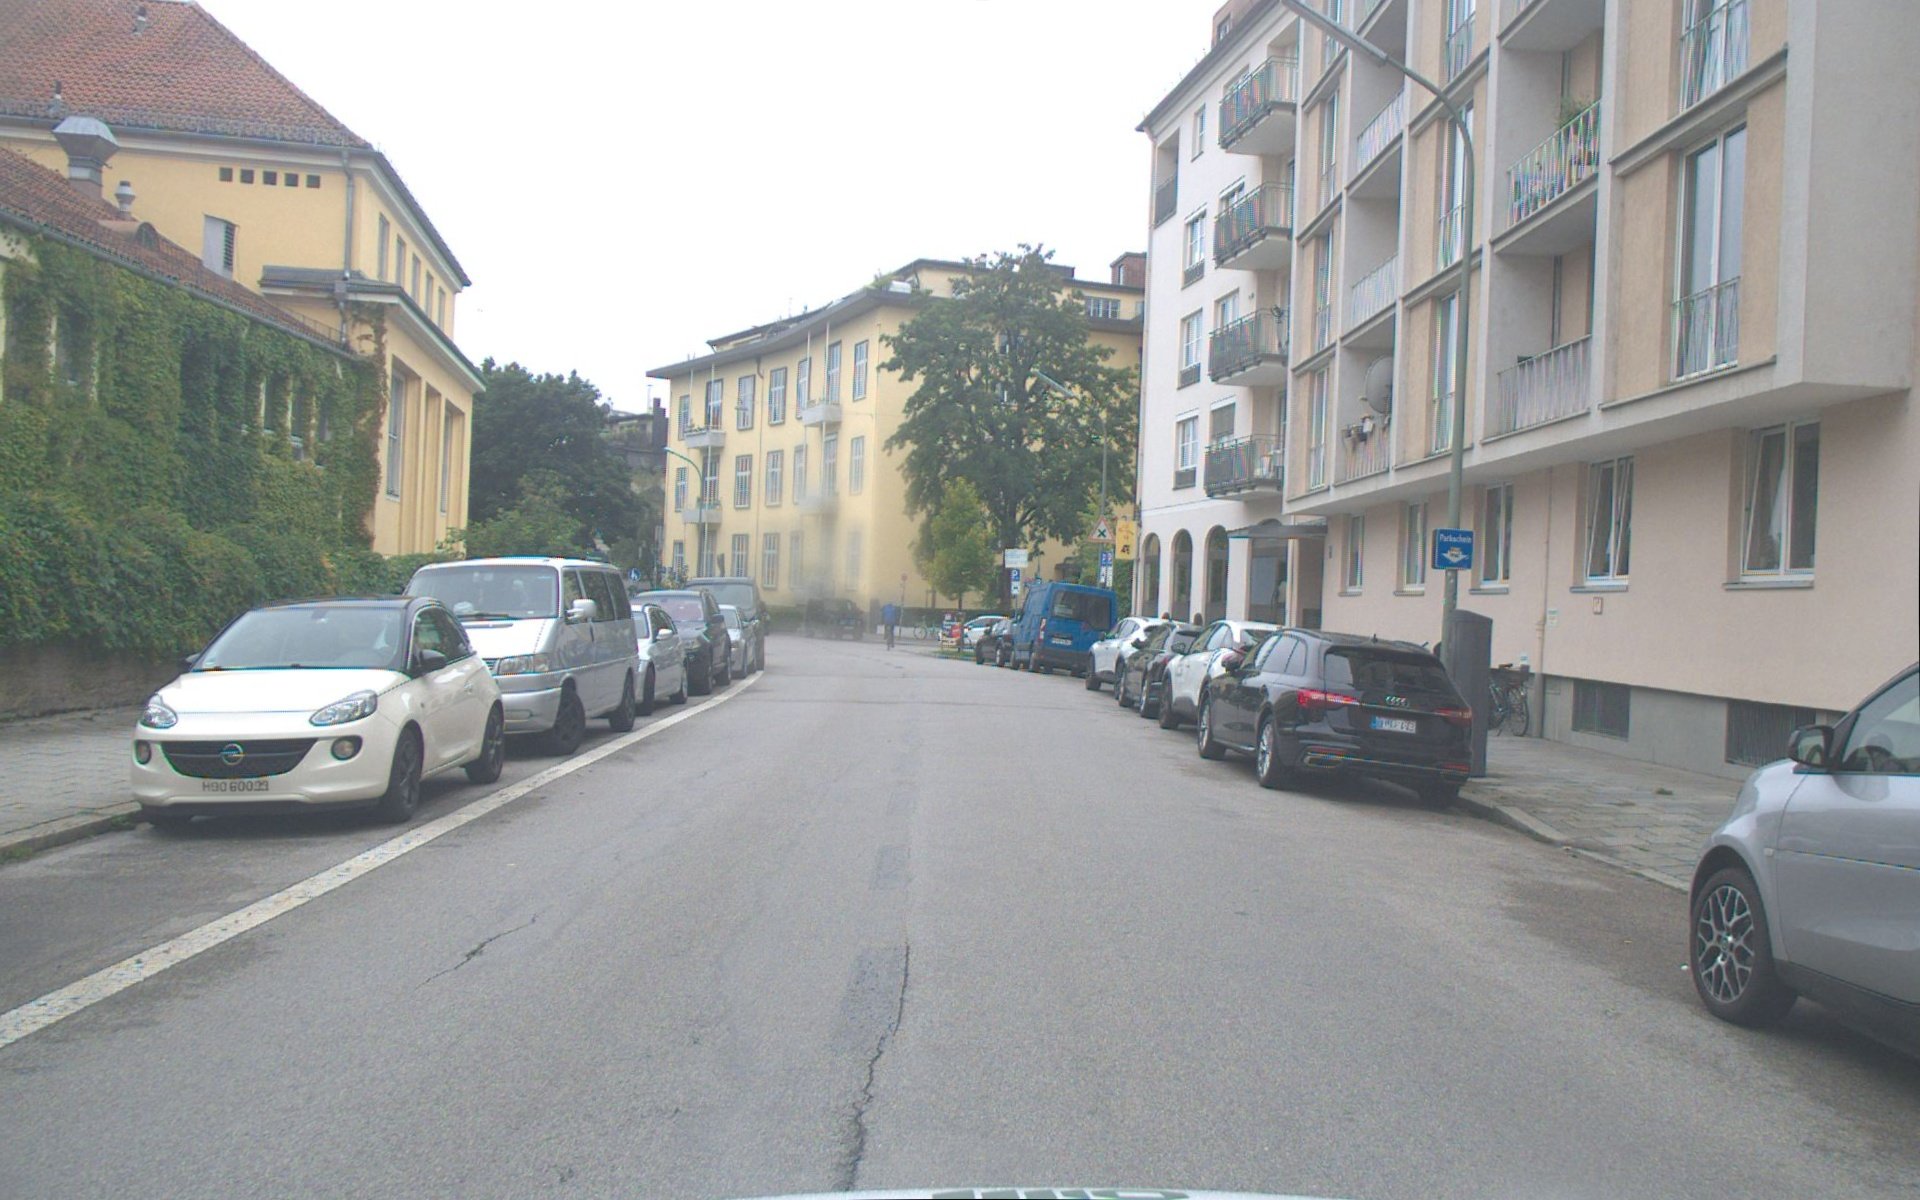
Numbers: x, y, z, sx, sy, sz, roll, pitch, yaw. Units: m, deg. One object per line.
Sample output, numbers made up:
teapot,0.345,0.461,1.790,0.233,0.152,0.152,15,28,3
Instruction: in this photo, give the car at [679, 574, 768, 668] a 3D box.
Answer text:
car,-5.442,0.440,38.438,1.888,2.014,4.616,-1,0,-7

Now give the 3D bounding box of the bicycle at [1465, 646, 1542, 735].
bicycle,7.709,1.263,23.500,0.503,1.177,1.600,1,0,-2

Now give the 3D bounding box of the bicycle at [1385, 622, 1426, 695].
bicycle,7.682,0.999,28.542,0.384,1.223,1.342,-1,-1,4

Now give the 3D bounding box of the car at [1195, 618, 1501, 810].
car,3.581,0.981,16.136,1.790,1.405,4.490,4,0,-1

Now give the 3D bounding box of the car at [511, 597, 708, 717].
car,-4.694,0.718,22.757,1.767,1.401,4.490,-3,0,-1

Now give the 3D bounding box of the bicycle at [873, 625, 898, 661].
bicycle,-2.886,1.657,64.072,0.902,1.274,2.321,2,0,-2

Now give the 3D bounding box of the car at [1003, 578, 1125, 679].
car,2.631,0.783,43.248,2.070,2.251,5.019,7,-3,-7

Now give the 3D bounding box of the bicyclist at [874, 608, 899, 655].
bicyclist,-2.849,1.209,64.089,0.895,1.795,1.215,2,0,-2

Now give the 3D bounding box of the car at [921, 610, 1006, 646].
car,0.137,1.245,73.185,3.640,1.431,1.752,2,0,-2

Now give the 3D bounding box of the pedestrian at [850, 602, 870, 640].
pedestrian,-4.831,1.026,79.921,0.832,1.788,0.952,1,0,-8

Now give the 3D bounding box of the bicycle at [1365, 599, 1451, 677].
bicycle,7.317,0.614,27.010,1.315,1.223,0.392,-1,-1,-15

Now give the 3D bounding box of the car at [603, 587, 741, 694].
car,-4.765,0.621,27.904,1.668,1.634,4.489,-1,0,-2

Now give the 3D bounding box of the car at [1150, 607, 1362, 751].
car,3.679,0.933,21.297,1.669,1.493,4.117,6,-1,-3

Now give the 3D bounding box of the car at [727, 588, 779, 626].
car,-10.181,0.318,81.100,1.960,1.749,4.598,2,0,-14

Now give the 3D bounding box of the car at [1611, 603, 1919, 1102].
car,3.838,0.873,5.871,1.582,1.542,3.380,6,0,0

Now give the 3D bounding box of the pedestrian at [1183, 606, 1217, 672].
pedestrian,6.003,0.976,41.357,0.697,1.633,0.699,1,-1,-5

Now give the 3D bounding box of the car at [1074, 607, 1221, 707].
car,3.528,1.044,31.963,1.742,1.548,4.298,6,0,-7

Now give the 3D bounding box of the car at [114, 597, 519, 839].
car,-4.416,0.718,11.923,1.633,1.434,3.557,-1,0,-2

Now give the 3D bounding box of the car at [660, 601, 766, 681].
car,-4.859,0.768,32.995,1.673,1.389,3.999,-2,1,-3

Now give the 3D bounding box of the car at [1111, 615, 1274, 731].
car,3.596,1.087,26.381,1.737,1.453,4.692,7,0,-1

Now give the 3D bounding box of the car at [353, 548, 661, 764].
car,-4.445,0.479,17.062,1.855,1.830,4.879,-2,0,-1

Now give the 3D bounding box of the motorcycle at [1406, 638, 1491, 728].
motorcycle,7.538,1.259,25.610,0.623,1.293,2.040,1,0,-2

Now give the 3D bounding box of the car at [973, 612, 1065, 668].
car,1.699,1.162,49.253,1.685,1.418,3.987,6,-1,-12

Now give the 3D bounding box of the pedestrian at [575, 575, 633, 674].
pedestrian,-6.586,0.445,30.633,0.826,1.785,0.872,2,0,0

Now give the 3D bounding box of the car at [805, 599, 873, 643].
car,-5.848,0.992,79.586,1.848,1.920,4.586,2,0,-23

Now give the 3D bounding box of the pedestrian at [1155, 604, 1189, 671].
pedestrian,5.281,0.931,41.288,0.665,1.657,0.829,1,-1,-5
